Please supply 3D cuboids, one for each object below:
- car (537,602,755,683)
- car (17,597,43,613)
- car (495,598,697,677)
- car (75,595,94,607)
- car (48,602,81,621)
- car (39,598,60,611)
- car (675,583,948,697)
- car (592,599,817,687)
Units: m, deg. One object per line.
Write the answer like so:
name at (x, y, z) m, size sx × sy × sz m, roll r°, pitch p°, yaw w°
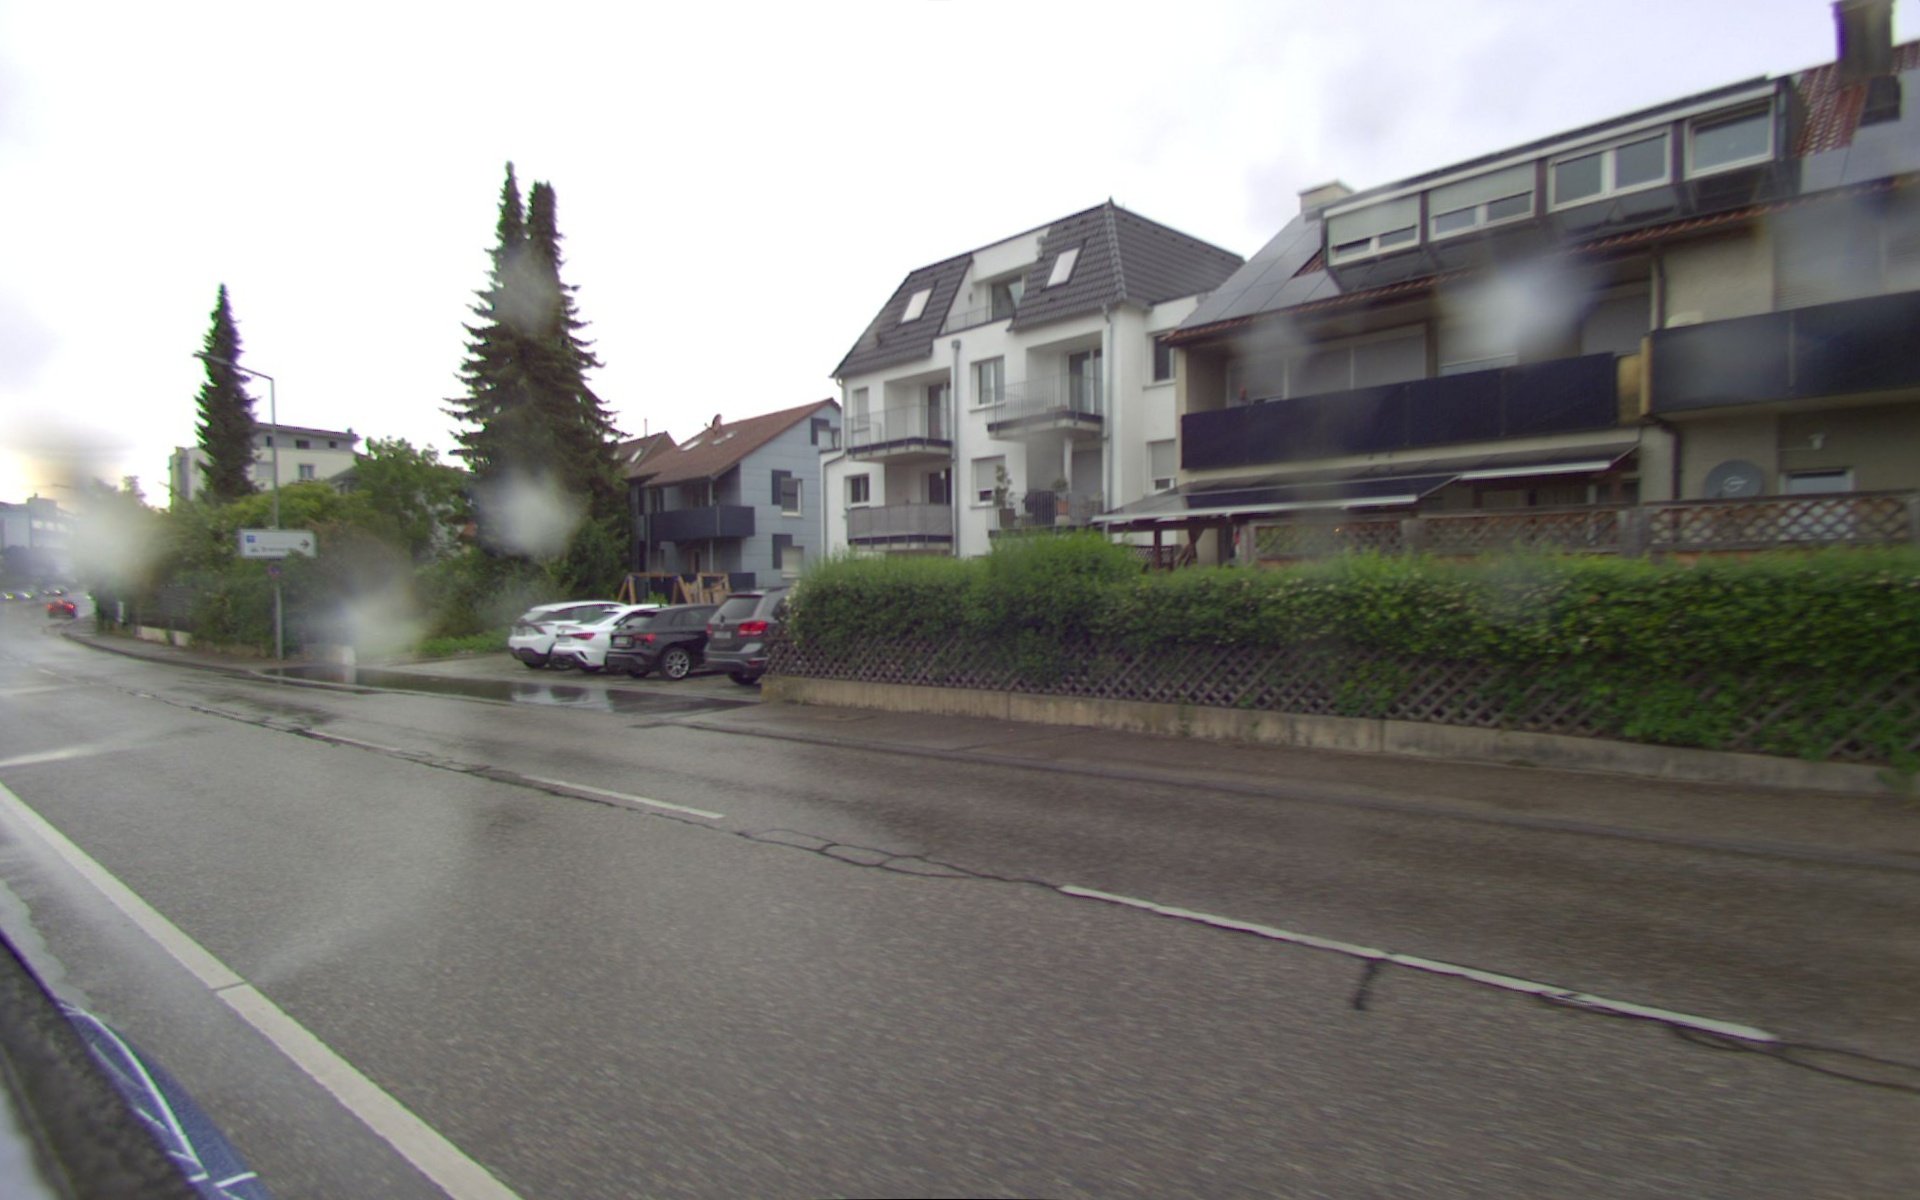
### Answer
car at (-6.772, 0.852, 22.089) m, size 4.097 × 1.453 × 1.892 m, roll -3°, pitch 1°, yaw -42°
car at (-104.886, 0.540, 114.168) m, size 1.824 × 1.777 × 4.128 m, roll -1°, pitch 0°, yaw -39°
car at (-8.607, 0.829, 24.129) m, size 4.058 × 1.557 × 2.001 m, roll -3°, pitch 1°, yaw -44°
car at (-131.922, 0.108, 152.548) m, size 1.823 × 1.777 × 4.131 m, roll -1°, pitch 0°, yaw -36°
car at (-80.357, 1.073, 90.851) m, size 1.968 × 1.627 × 4.008 m, roll -1°, pitch 0°, yaw -39°
car at (-130.935, 0.606, 145.556) m, size 1.823 × 1.777 × 4.131 m, roll -1°, pitch 0°, yaw -36°
car at (-2.540, 0.617, 18.011) m, size 4.405 × 1.673 × 2.002 m, roll -3°, pitch 1°, yaw -42°
car at (-5.045, 0.795, 20.328) m, size 3.979 × 1.453 × 1.814 m, roll -3°, pitch 1°, yaw -44°
